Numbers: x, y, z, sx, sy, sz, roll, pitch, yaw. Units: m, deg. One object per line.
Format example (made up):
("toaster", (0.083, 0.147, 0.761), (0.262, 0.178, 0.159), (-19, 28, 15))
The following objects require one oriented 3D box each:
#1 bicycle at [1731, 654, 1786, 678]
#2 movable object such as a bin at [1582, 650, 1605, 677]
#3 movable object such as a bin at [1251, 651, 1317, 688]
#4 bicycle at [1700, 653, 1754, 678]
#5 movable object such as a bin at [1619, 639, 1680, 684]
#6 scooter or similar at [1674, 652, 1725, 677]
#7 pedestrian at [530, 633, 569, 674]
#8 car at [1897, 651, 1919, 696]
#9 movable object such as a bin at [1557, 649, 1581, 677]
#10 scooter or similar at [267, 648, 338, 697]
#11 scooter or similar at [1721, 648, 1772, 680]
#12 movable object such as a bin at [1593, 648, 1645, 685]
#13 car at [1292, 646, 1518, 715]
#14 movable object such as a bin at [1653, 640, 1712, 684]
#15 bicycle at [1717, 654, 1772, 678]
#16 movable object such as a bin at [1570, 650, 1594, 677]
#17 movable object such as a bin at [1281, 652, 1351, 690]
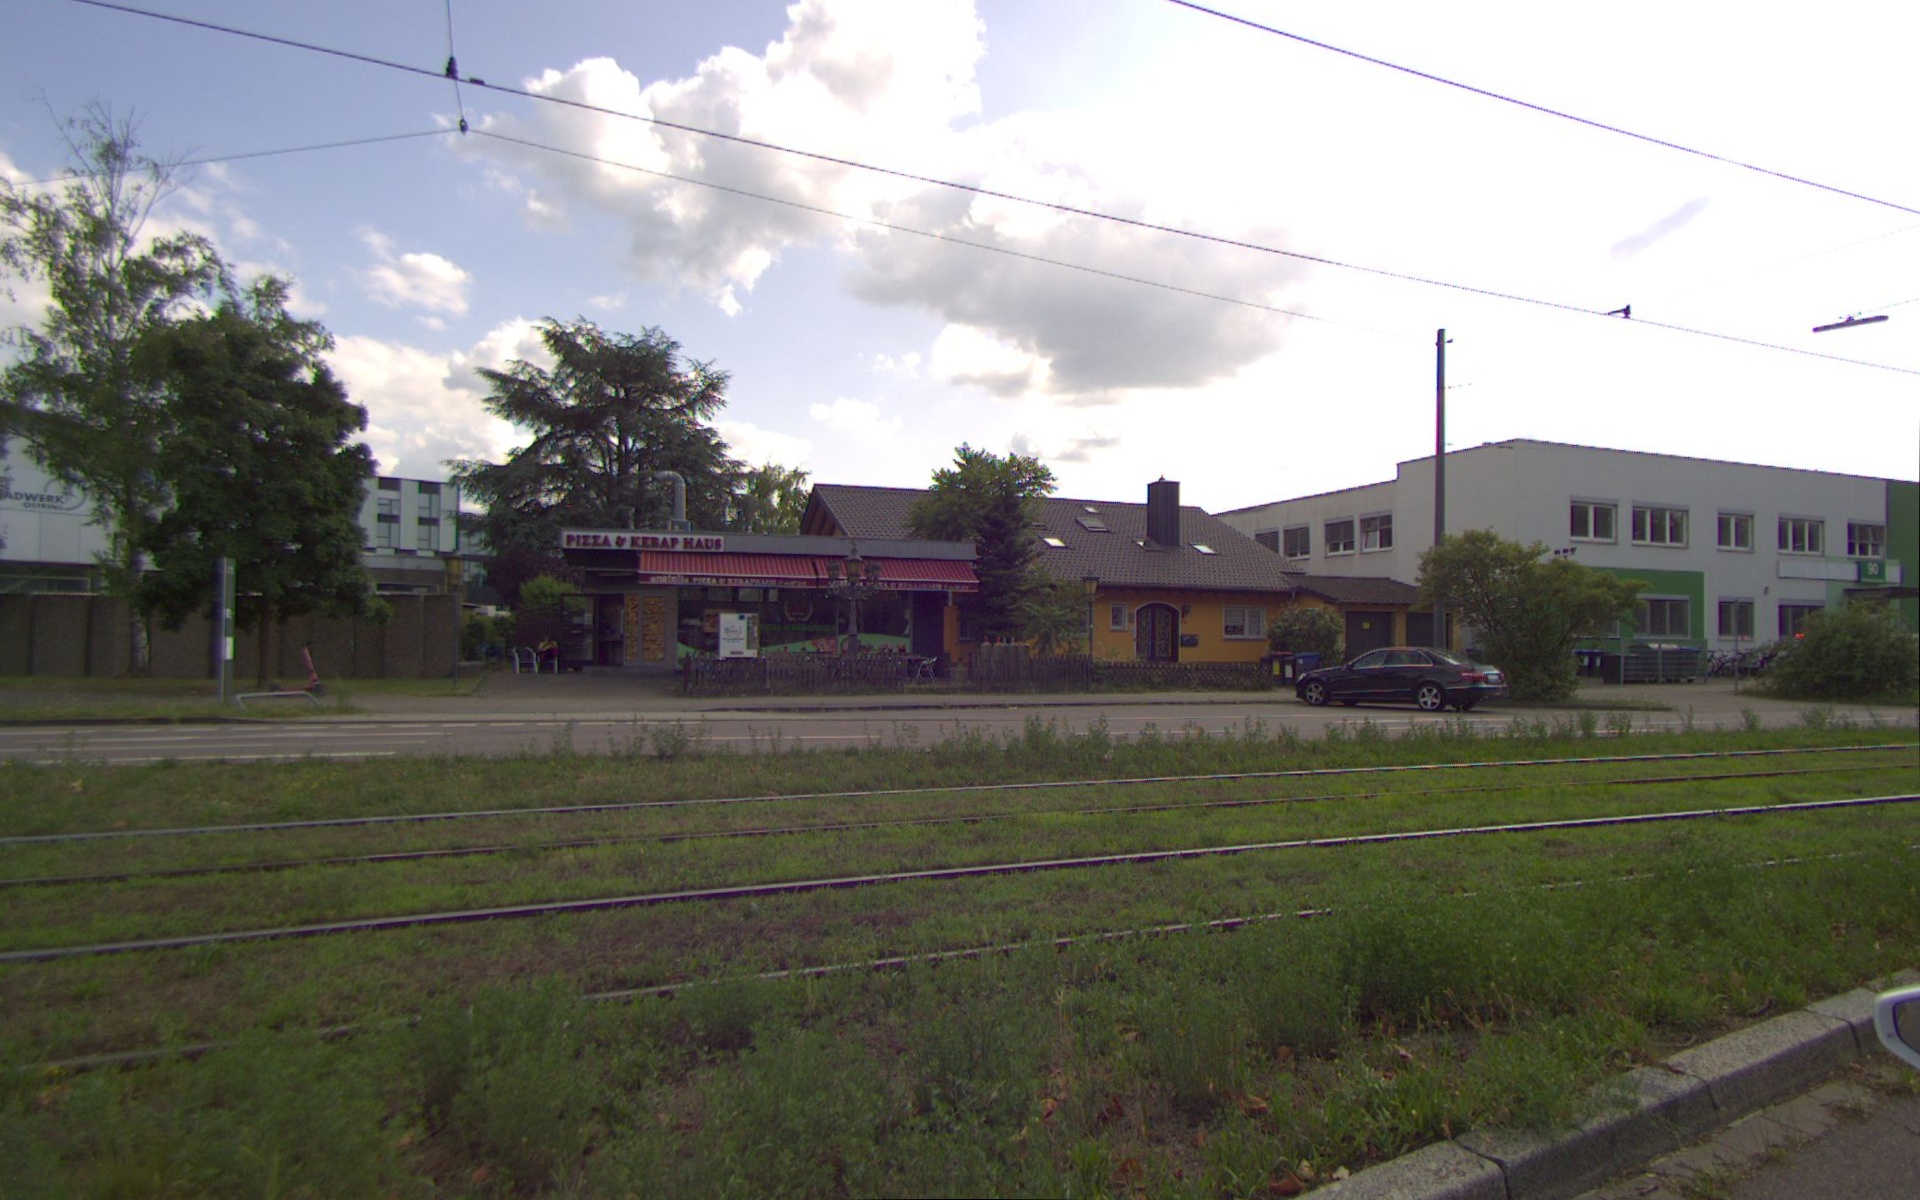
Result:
("bicycle", (33.916, 2.806, 42.690), (0.451, 0.911, 1.856), (2, -1, -19))
("movable object such as a bin", (25.175, 2.515, 39.916), (0.555, 1.056, 0.567), (0, 0, -19))
("movable object such as a bin", (10.340, 2.203, 32.095), (1.594, 1.107, 1.252), (1, -2, -21))
("bicycle", (32.035, 2.723, 41.971), (0.451, 0.911, 1.856), (2, -1, -19))
("movable object such as a bin", (25.029, 2.218, 36.463), (1.684, 1.540, 1.005), (0, 0, -18))
("scooter or similar", (30.585, 2.673, 41.567), (0.451, 0.911, 1.733), (2, -1, -19))
("pedestrian", (-11.833, 1.537, 28.994), (0.917, 1.161, 1.152), (1, -2, -18))
("car", (34.602, 2.503, 33.851), (4.167, 1.501, 1.877), (-1, -3, 36))
("movable object such as a bin", (23.949, 2.481, 39.491), (0.555, 1.056, 0.567), (0, 0, -19))
("scooter or similar", (-14.436, 1.587, 22.077), (1.201, 1.047, 0.427), (1, -2, -10))
("scooter or similar", (31.328, 2.533, 40.010), (1.072, 1.171, 1.308), (2, -1, 9))
("movable object such as a bin", (23.594, 2.375, 35.980), (1.236, 1.250, 1.005), (0, 0, -18))
("car", (10.454, 1.860, 23.886), (1.868, 1.425, 4.599), (4, -4, -39))
("movable object such as a bin", (26.609, 2.259, 37.005), (1.579, 1.540, 1.005), (0, 0, -18))
("bicycle", (33.083, 2.769, 42.389), (0.451, 0.911, 1.856), (2, -1, -19))
("movable object such as a bin", (24.563, 2.507, 39.687), (0.555, 1.056, 0.567), (0, 0, -19))
("movable object such as a bin", (10.894, 2.156, 30.740), (1.594, 1.115, 1.252), (1, -2, -21))
